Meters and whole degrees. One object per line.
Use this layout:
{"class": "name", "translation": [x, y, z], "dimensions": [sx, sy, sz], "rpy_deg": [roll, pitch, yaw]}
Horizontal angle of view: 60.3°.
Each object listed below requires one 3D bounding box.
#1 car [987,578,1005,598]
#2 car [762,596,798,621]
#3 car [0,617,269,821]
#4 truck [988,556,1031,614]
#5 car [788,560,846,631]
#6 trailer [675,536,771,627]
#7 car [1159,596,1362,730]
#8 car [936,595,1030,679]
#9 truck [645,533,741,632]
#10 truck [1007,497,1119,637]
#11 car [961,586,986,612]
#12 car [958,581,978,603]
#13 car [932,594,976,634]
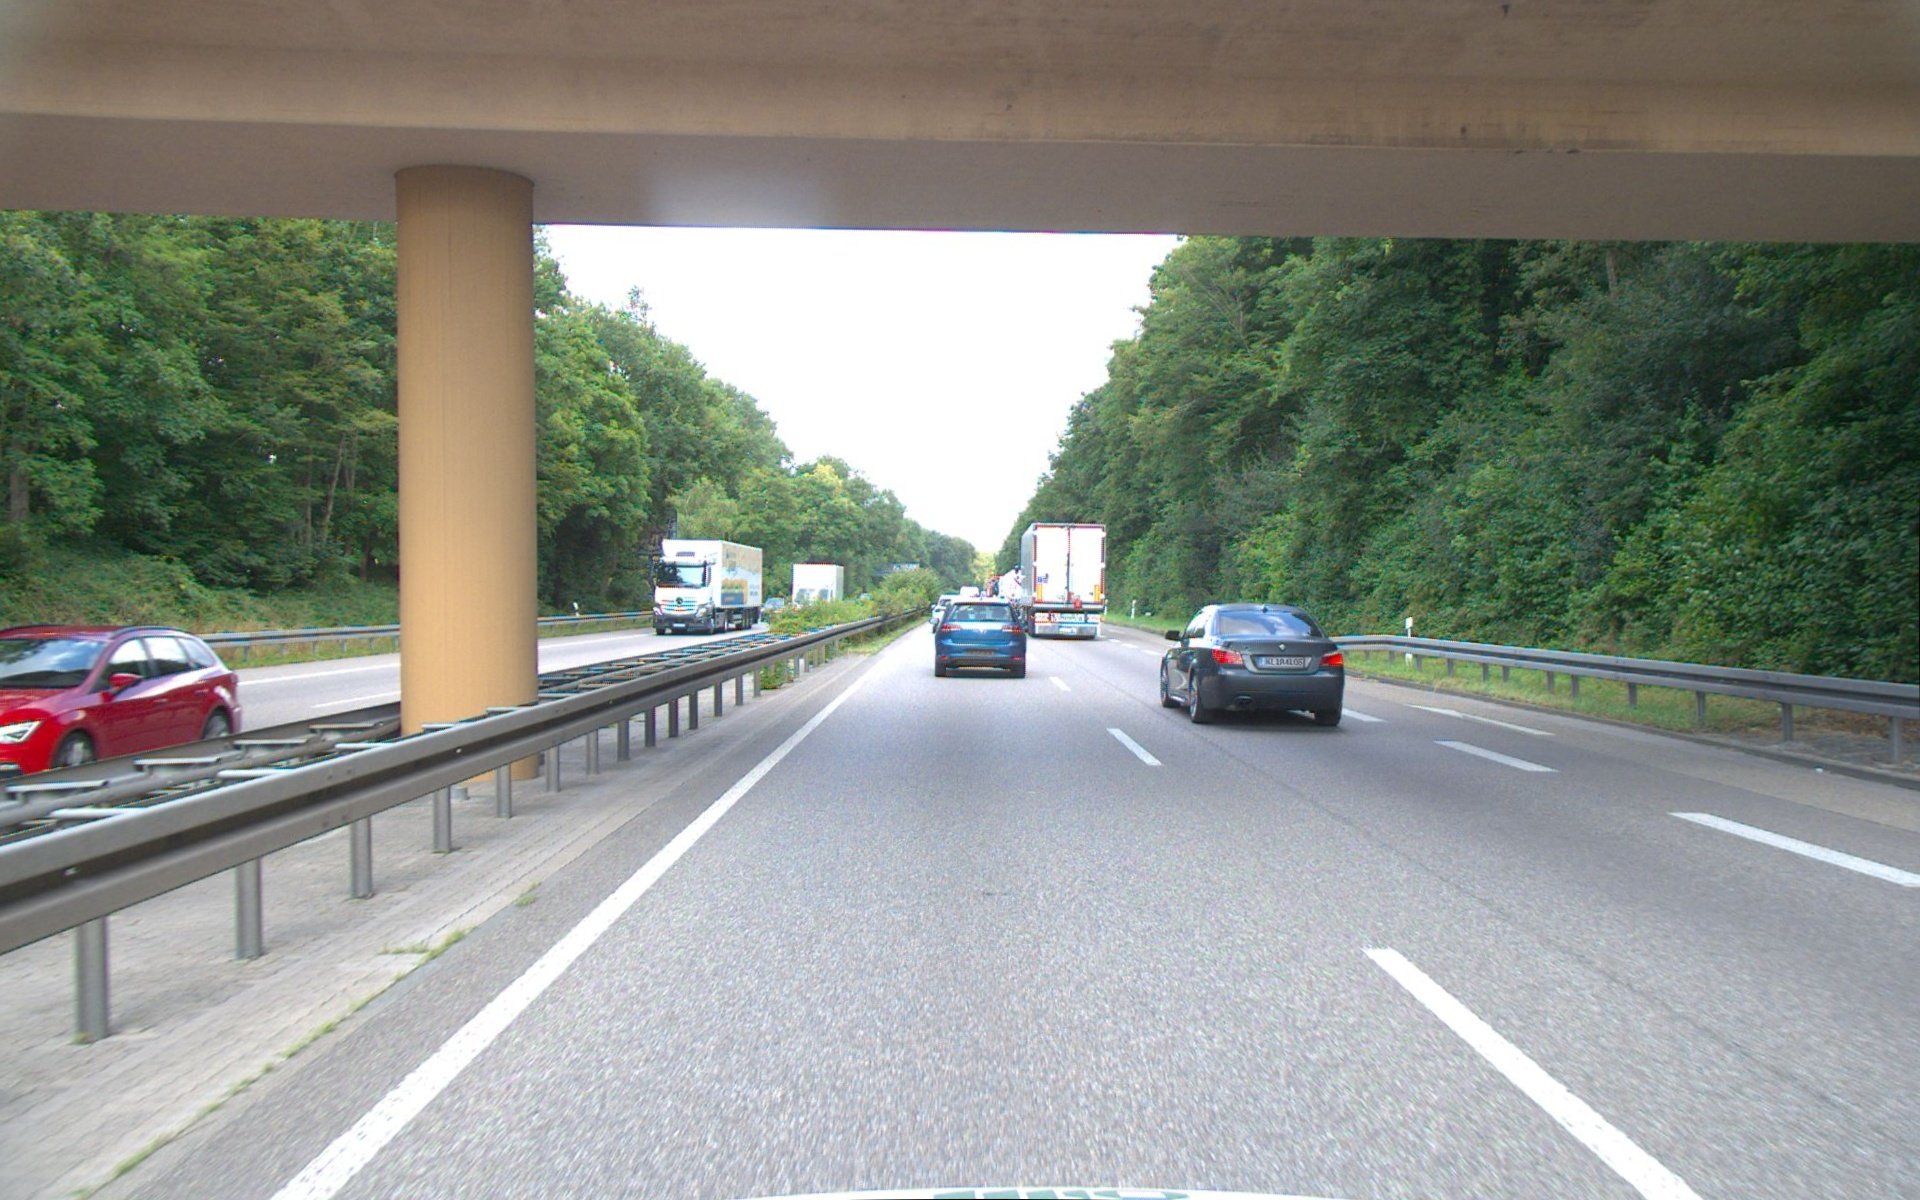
{"class": "car", "translation": [4.329, -1.474, 198.461], "dimensions": [1.953, 2.368, 4.440], "rpy_deg": [-1, 0, -2]}
{"class": "car", "translation": [-11.270, 0.491, 103.654], "dimensions": [1.699, 1.499, 4.470], "rpy_deg": [-1, 0, 0]}
{"class": "car", "translation": [-8.005, 0.957, 15.044], "dimensions": [1.651, 1.502, 4.436], "rpy_deg": [-1, 0, -1]}
{"class": "truck", "translation": [3.962, -1.156, 134.897], "dimensions": [3.166, 4.463, 12.970], "rpy_deg": [0, 0, 0]}
{"class": "car", "translation": [-7.006, -0.241, 81.792], "dimensions": [2.241, 3.289, 7.286], "rpy_deg": [-1, 0, 0]}
{"class": "trailer", "translation": [-11.351, -0.846, 80.194], "dimensions": [2.996, 4.113, 9.976], "rpy_deg": [-1, 0, 1]}
{"class": "car", "translation": [3.743, 0.722, 21.432], "dimensions": [1.738, 1.501, 4.880], "rpy_deg": [1, 0, 0]}
{"class": "car", "translation": [0.413, 0.663, 31.927], "dimensions": [1.670, 1.495, 4.000], "rpy_deg": [1, 0, 0]}
{"class": "truck", "translation": [-11.498, -0.744, 71.791], "dimensions": [2.977, 4.056, 6.749], "rpy_deg": [-1, 0, 1]}
{"class": "truck", "translation": [3.720, -1.190, 62.700], "dimensions": [3.177, 4.798, 11.002], "rpy_deg": [-1, 0, -2]}
{"class": "car", "translation": [1.070, -0.129, 133.850], "dimensions": [1.914, 2.049, 4.000], "rpy_deg": [-1, 0, 0]}
{"class": "car", "translation": [0.796, -0.856, 177.282], "dimensions": [1.953, 2.294, 4.440], "rpy_deg": [-1, 0, -2]}
{"class": "car", "translation": [-0.213, 0.522, 65.542], "dimensions": [1.631, 1.526, 4.152], "rpy_deg": [0, 0, 1]}
